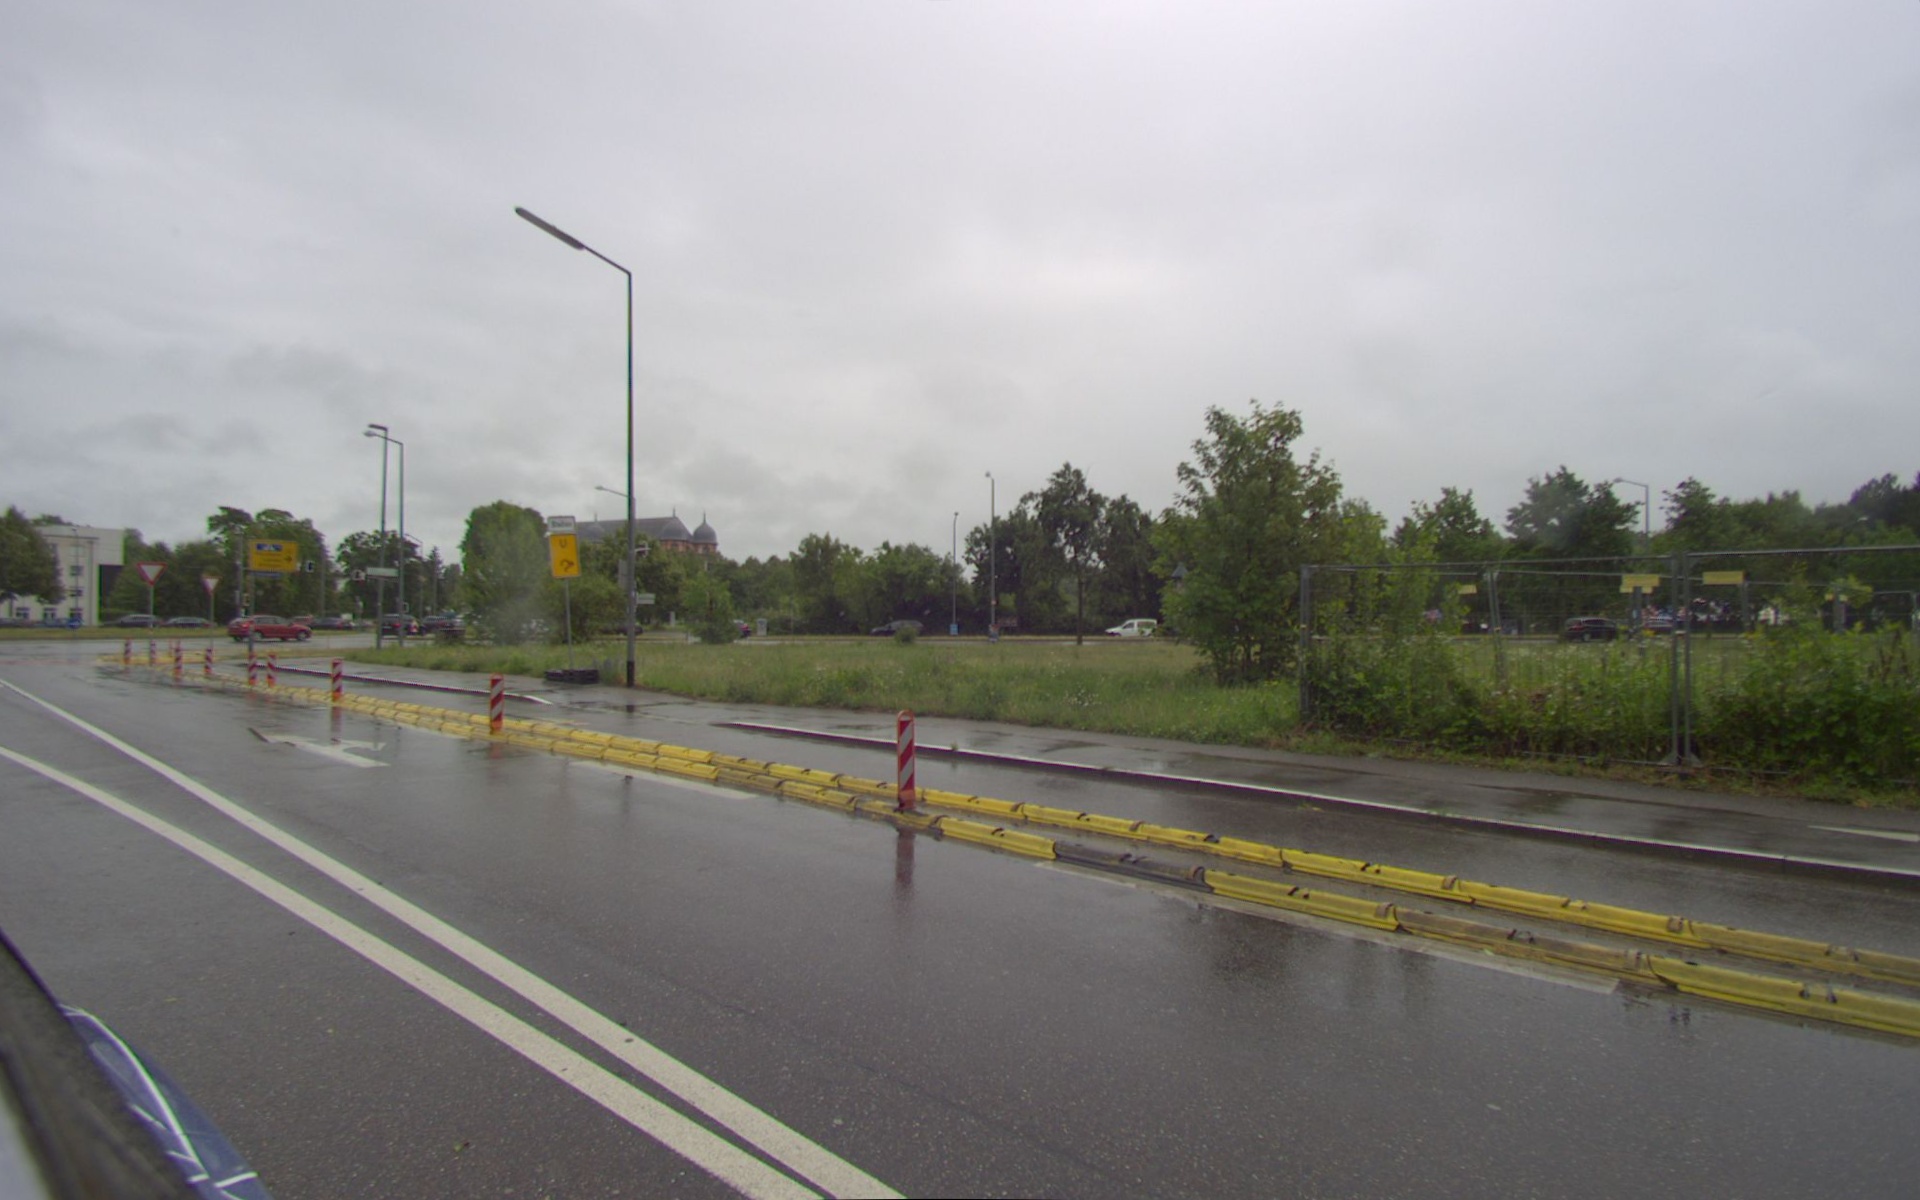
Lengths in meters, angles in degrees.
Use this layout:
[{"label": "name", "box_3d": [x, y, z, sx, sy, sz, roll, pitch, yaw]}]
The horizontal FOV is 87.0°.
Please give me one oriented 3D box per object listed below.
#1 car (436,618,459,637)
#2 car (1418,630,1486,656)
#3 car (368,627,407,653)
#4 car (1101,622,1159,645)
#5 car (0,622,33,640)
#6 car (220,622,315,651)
[{"label": "car", "box_3d": [-48.812, 2.600, 96.503, 1.758, 1.660, 4.403, 1, 0, -24]}, {"label": "car", "box_3d": [34.920, 3.035, 71.903, 3.941, 1.660, 1.790, 2, 0, -3]}, {"label": "car", "box_3d": [-38.274, 2.632, 67.741, 1.758, 1.529, 4.347, 0, 0, -23]}, {"label": "car", "box_3d": [13.648, 2.652, 81.340, 4.276, 1.660, 1.791, 2, 0, -4]}, {"label": "car", "box_3d": [-78.939, 2.538, 83.212, 3.938, 1.461, 1.849, 1, -2, -42]}, {"label": "car", "box_3d": [-39.427, 2.035, 57.731, 1.777, 1.470, 4.284, 0, 0, 22]}]
